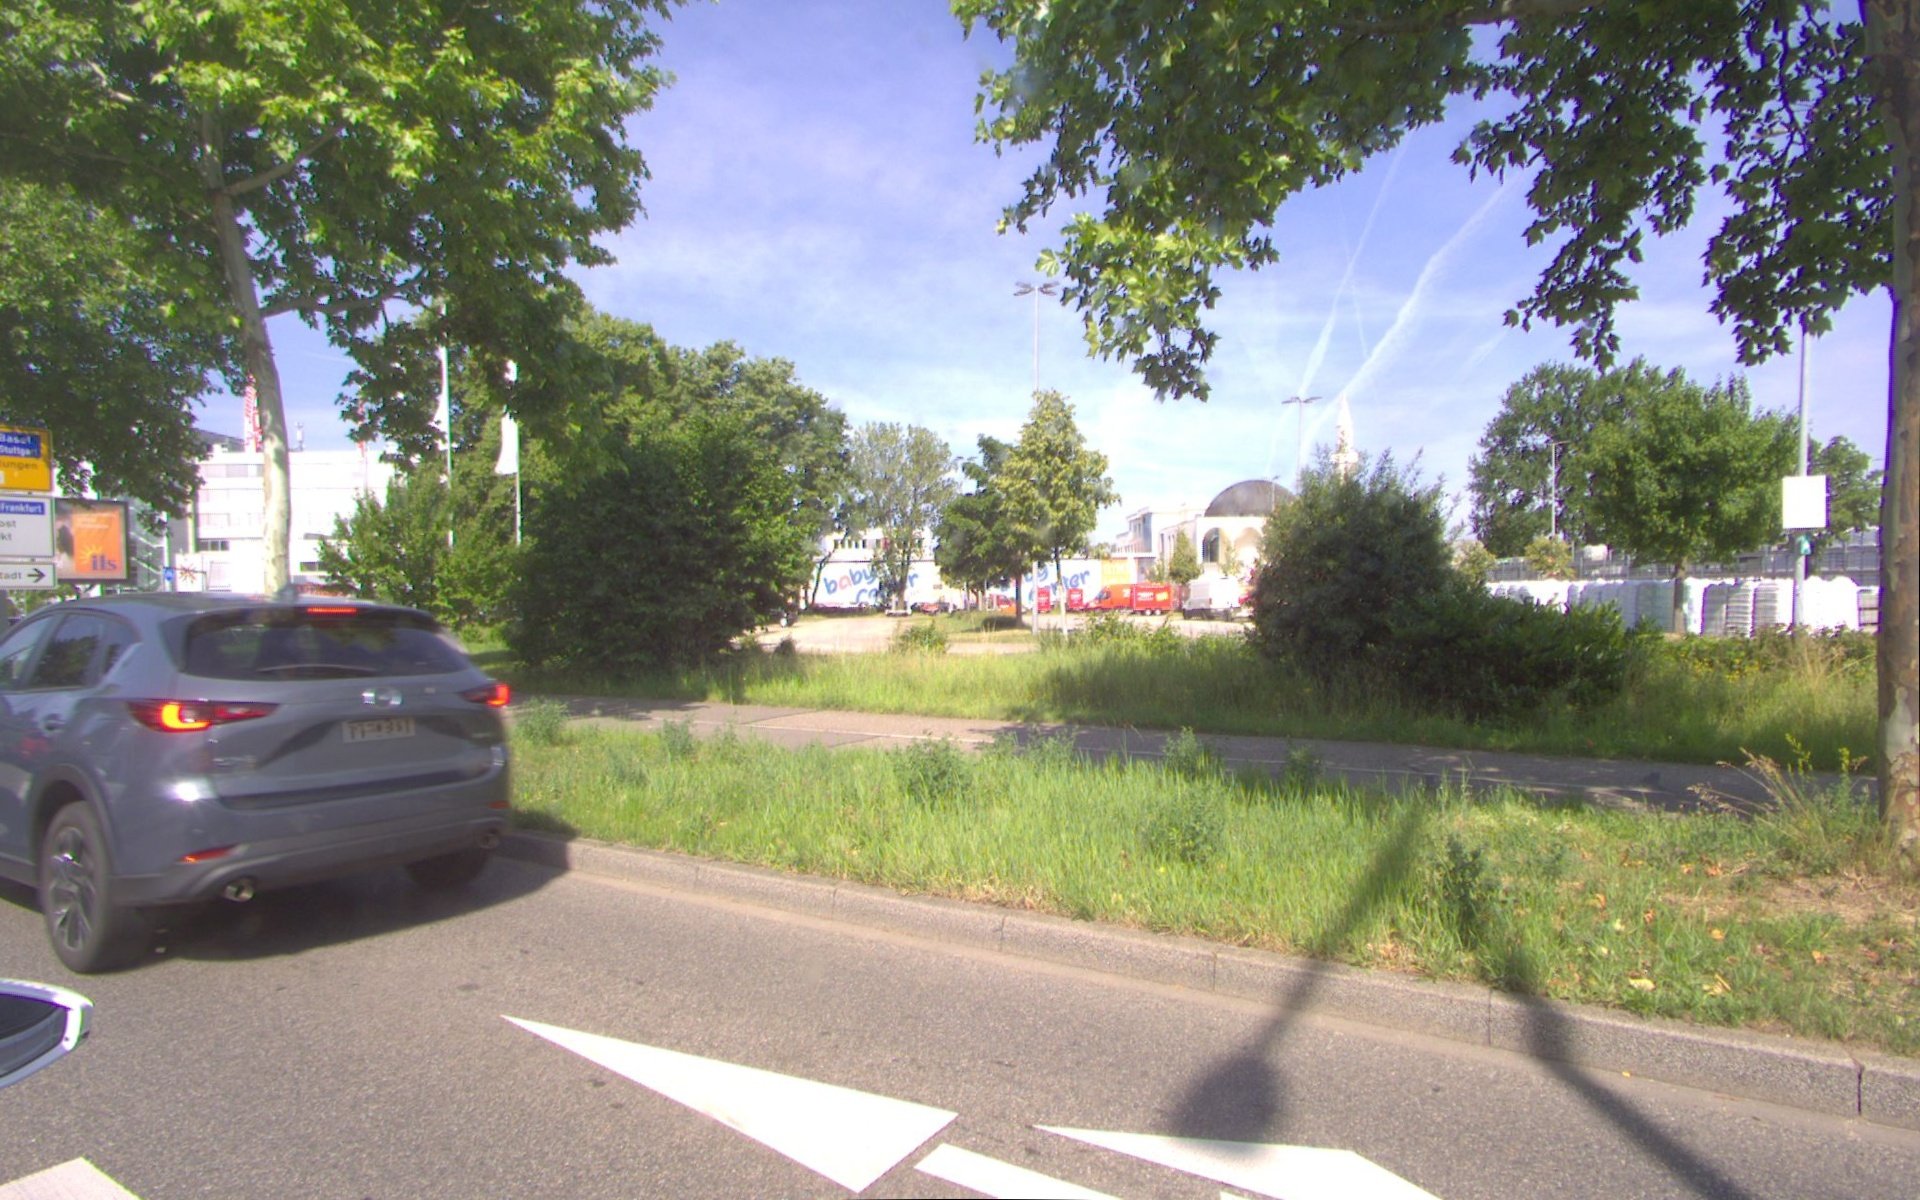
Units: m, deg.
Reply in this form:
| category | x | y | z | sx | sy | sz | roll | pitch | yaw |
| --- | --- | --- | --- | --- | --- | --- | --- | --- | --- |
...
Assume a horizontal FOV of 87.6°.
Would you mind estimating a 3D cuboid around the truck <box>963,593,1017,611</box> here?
| category | x | y | z | sx | sy | sz | roll | pitch | yaw |
| --- | --- | --- | --- | --- | --- | --- | --- | --- | --- |
| truck | 3.361 | 0.228 | 112.922 | 5.888 | 1.855 | 2.188 | 0 | -2 | -3 |

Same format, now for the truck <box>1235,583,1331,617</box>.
| category | x | y | z | sx | sy | sz | roll | pitch | yaw |
| --- | --- | --- | --- | --- | --- | --- | --- | --- | --- |
| truck | 21.618 | 0.001 | 67.184 | 5.751 | 2.168 | 2.066 | -1 | 0 | -1 |

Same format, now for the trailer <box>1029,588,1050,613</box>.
| category | x | y | z | sx | sy | sz | roll | pitch | yaw |
| --- | --- | --- | --- | --- | --- | --- | --- | --- | --- |
| trailer | 7.742 | 0.017 | 97.809 | 1.560 | 2.408 | 4.410 | 0 | 1 | -1 |

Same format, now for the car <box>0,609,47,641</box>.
| category | x | y | z | sx | sy | sz | roll | pitch | yaw |
| --- | --- | --- | --- | --- | --- | --- | --- | --- | --- |
| car | -53.602 | 1.387 | 55.554 | 1.879 | 1.711 | 4.625 | -1 | 0 | -4 |

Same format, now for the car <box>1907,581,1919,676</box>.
| category | x | y | z | sx | sy | sz | roll | pitch | yaw |
| --- | --- | --- | --- | --- | --- | --- | --- | --- | --- |
| car | 16.436 | 0.472 | 15.243 | 1.820 | 1.606 | 3.849 | -1 | 0 | 25 |

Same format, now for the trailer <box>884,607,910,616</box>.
| category | x | y | z | sx | sy | sz | roll | pitch | yaw |
| --- | --- | --- | --- | --- | --- | --- | --- | --- | --- |
| trailer | -5.951 | 1.118 | 94.907 | 2.059 | 0.792 | 4.411 | -1 | 0 | 1 |

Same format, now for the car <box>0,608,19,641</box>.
| category | x | y | z | sx | sy | sz | roll | pitch | yaw |
| --- | --- | --- | --- | --- | --- | --- | --- | --- | --- |
| car | -50.143 | 1.275 | 50.116 | 1.879 | 1.711 | 4.625 | -1 | 0 | -4 |

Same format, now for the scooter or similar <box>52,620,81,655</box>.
| category | x | y | z | sx | sy | sz | roll | pitch | yaw |
| --- | --- | --- | --- | --- | --- | --- | --- | --- | --- |
| scooter or similar | -29.901 | 1.238 | 33.504 | 1.107 | 1.141 | 0.423 | 0 | 1 | 32 |

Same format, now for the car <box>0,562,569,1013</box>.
| category | x | y | z | sx | sy | sz | roll | pitch | yaw |
| --- | --- | --- | --- | --- | --- | --- | --- | --- | --- |
| car | -4.393 | 0.756 | 5.666 | 4.431 | 1.680 | 1.763 | -1 | -2 | 32 |

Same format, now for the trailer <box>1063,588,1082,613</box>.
| category | x | y | z | sx | sy | sz | roll | pitch | yaw |
| --- | --- | --- | --- | --- | --- | --- | --- | --- | --- |
| trailer | 10.889 | 0.029 | 97.190 | 1.520 | 2.390 | 4.410 | 0 | 1 | 2 |

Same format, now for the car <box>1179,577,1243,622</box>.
| category | x | y | z | sx | sy | sz | roll | pitch | yaw |
| --- | --- | --- | --- | --- | --- | --- | --- | --- | --- |
| car | 15.511 | -0.045 | 62.221 | 1.980 | 2.576 | 5.687 | -3 | 0 | -6 |

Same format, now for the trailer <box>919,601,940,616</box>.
| category | x | y | z | sx | sy | sz | roll | pitch | yaw |
| --- | --- | --- | --- | --- | --- | --- | --- | --- | --- |
| trailer | -2.937 | 0.808 | 95.655 | 1.560 | 1.304 | 4.409 | -1 | 0 | -7 |

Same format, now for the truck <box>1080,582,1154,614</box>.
| category | x | y | z | sx | sy | sz | roll | pitch | yaw |
| --- | --- | --- | --- | --- | --- | --- | --- | --- | --- |
| truck | 13.327 | -0.140 | 85.186 | 5.914 | 2.644 | 2.018 | 0 | 0 | -6 |

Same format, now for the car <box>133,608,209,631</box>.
| category | x | y | z | sx | sy | sz | roll | pitch | yaw |
| --- | --- | --- | --- | --- | --- | --- | --- | --- | --- |
| car | -54.008 | 1.330 | 68.633 | 1.747 | 1.463 | 4.625 | -1 | 0 | -4 |

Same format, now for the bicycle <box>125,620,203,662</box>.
| category | x | y | z | sx | sy | sz | roll | pitch | yaw |
| --- | --- | --- | --- | --- | --- | --- | --- | --- | --- |
| bicycle | -23.807 | 1.219 | 29.990 | 1.771 | 1.123 | 0.499 | -3 | 2 | -40 |

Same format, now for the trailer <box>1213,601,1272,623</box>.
| category | x | y | z | sx | sy | sz | roll | pitch | yaw |
| --- | --- | --- | --- | --- | --- | --- | --- | --- | --- |
| trailer | 15.930 | 0.661 | 56.630 | 2.029 | 1.137 | 4.031 | -3 | 0 | -2 |

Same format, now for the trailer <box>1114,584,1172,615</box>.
| category | x | y | z | sx | sy | sz | roll | pitch | yaw |
| --- | --- | --- | --- | --- | --- | --- | --- | --- | --- |
| trailer | 14.502 | -0.044 | 79.450 | 4.325 | 2.409 | 1.751 | 0 | 1 | 0 |
